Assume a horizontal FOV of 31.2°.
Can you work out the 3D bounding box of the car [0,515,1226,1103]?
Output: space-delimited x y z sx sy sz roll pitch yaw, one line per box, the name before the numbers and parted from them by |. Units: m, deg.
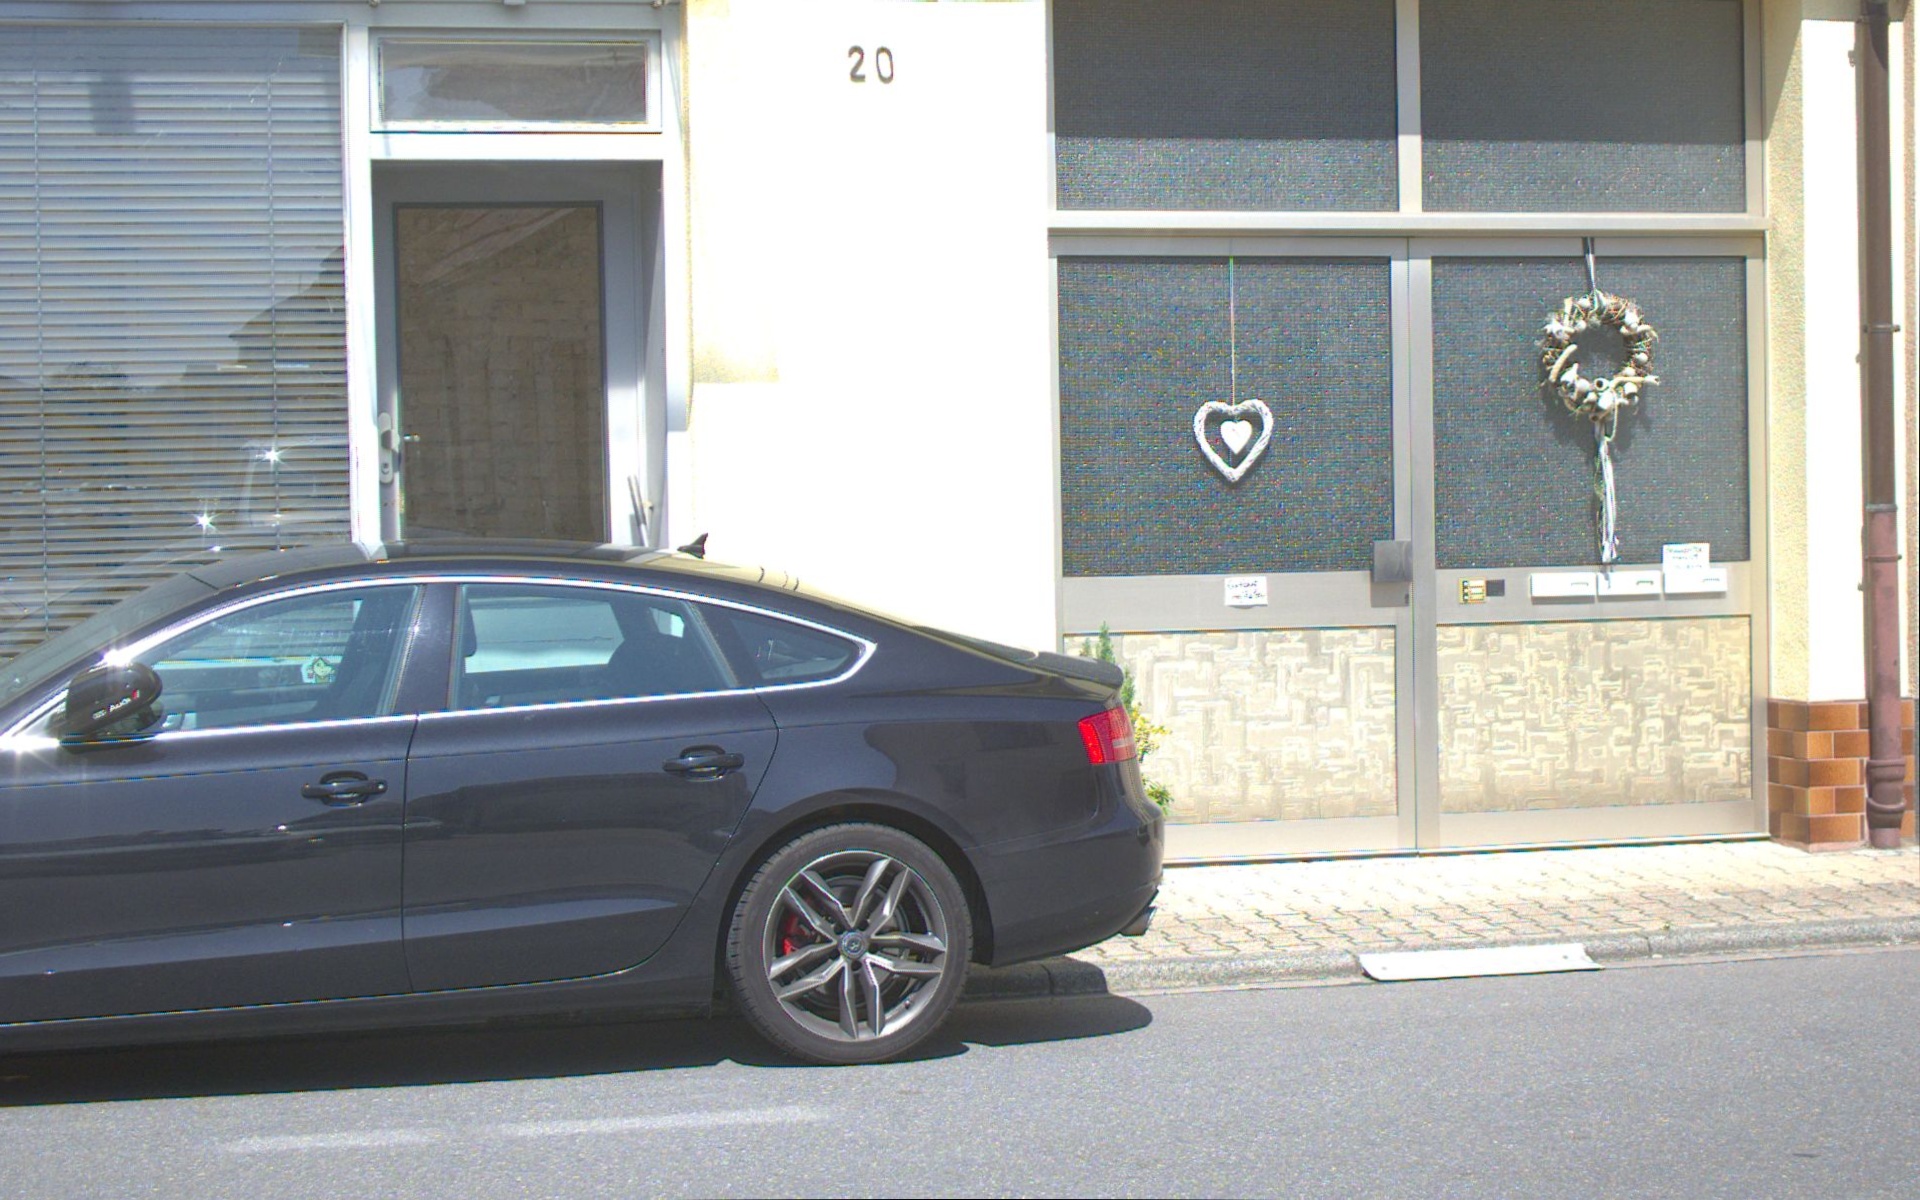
car | -1.789 0.527 9.441 4.615 1.389 1.928 -1 -1 -15
